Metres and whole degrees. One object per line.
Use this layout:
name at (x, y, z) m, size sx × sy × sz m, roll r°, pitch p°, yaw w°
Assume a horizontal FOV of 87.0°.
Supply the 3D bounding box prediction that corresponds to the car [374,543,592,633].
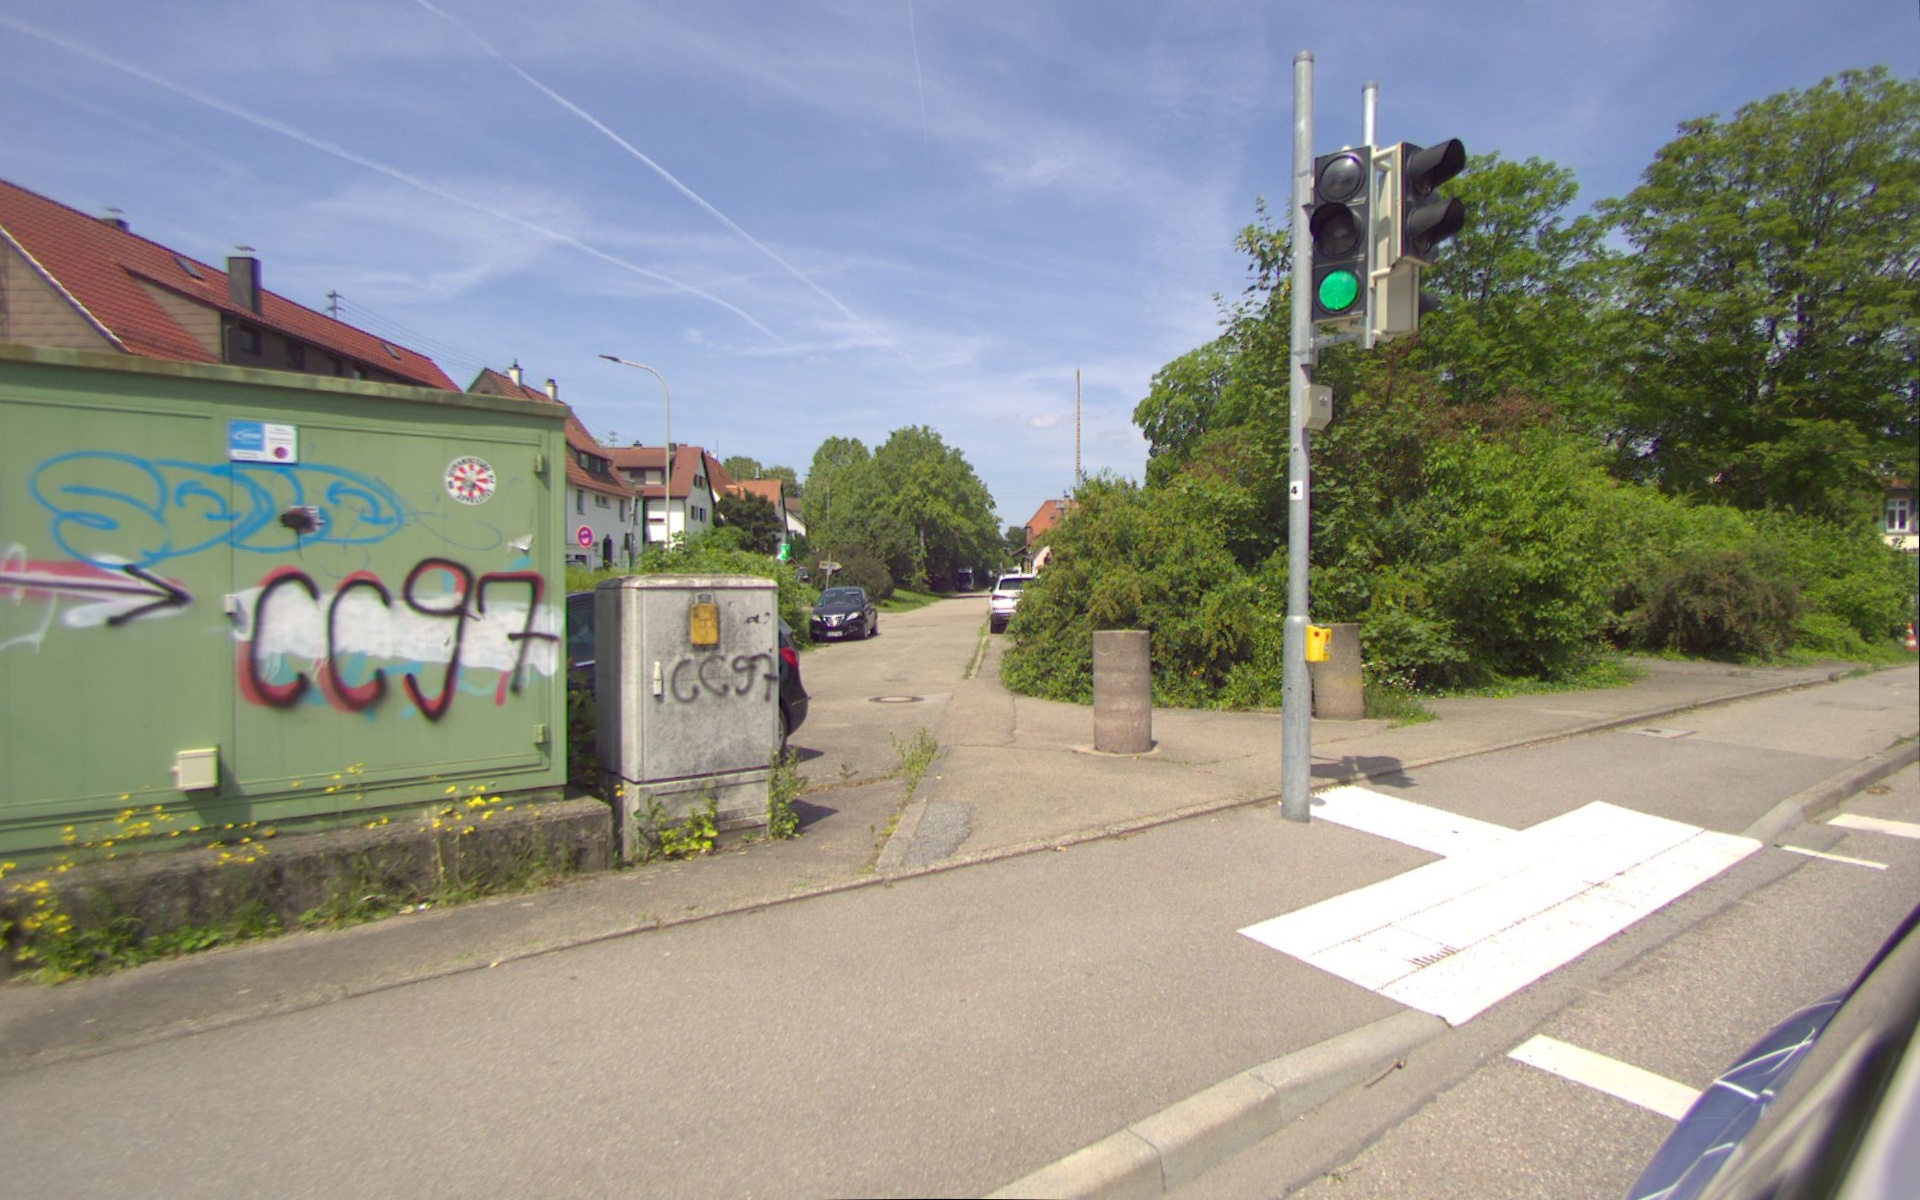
car at (-8.711, -0.233, 18.620) m, size 3.371 × 1.503 × 1.417 m, roll 2°, pitch 1°, yaw 3°

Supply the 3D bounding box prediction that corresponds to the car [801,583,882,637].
car at (-3.367, 0.242, 29.431) m, size 1.579 × 1.423 × 3.604 m, roll -1°, pitch 1°, yaw 6°

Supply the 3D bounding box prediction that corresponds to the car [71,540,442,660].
car at (-9.181, -0.032, 13.298) m, size 4.213 × 1.416 × 1.397 m, roll 1°, pitch 1°, yaw 8°

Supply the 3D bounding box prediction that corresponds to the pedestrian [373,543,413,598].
pedestrian at (-17.208, -0.889, 30.733) m, size 0.766 × 1.625 × 0.799 m, roll 1°, pitch 1°, yaw 4°

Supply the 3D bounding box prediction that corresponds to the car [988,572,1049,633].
car at (1.767, 0.037, 29.483) m, size 1.579 × 1.638 × 3.731 m, roll 1°, pitch 1°, yaw 6°

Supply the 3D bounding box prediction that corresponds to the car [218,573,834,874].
car at (-3.032, 0.679, 7.821) m, size 1.706 × 1.570 × 4.011 m, roll -2°, pitch 2°, yaw 38°

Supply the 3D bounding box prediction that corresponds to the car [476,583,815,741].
car at (-3.598, 0.611, 12.370) m, size 1.607 × 1.485 × 4.051 m, roll -2°, pitch 2°, yaw 26°
